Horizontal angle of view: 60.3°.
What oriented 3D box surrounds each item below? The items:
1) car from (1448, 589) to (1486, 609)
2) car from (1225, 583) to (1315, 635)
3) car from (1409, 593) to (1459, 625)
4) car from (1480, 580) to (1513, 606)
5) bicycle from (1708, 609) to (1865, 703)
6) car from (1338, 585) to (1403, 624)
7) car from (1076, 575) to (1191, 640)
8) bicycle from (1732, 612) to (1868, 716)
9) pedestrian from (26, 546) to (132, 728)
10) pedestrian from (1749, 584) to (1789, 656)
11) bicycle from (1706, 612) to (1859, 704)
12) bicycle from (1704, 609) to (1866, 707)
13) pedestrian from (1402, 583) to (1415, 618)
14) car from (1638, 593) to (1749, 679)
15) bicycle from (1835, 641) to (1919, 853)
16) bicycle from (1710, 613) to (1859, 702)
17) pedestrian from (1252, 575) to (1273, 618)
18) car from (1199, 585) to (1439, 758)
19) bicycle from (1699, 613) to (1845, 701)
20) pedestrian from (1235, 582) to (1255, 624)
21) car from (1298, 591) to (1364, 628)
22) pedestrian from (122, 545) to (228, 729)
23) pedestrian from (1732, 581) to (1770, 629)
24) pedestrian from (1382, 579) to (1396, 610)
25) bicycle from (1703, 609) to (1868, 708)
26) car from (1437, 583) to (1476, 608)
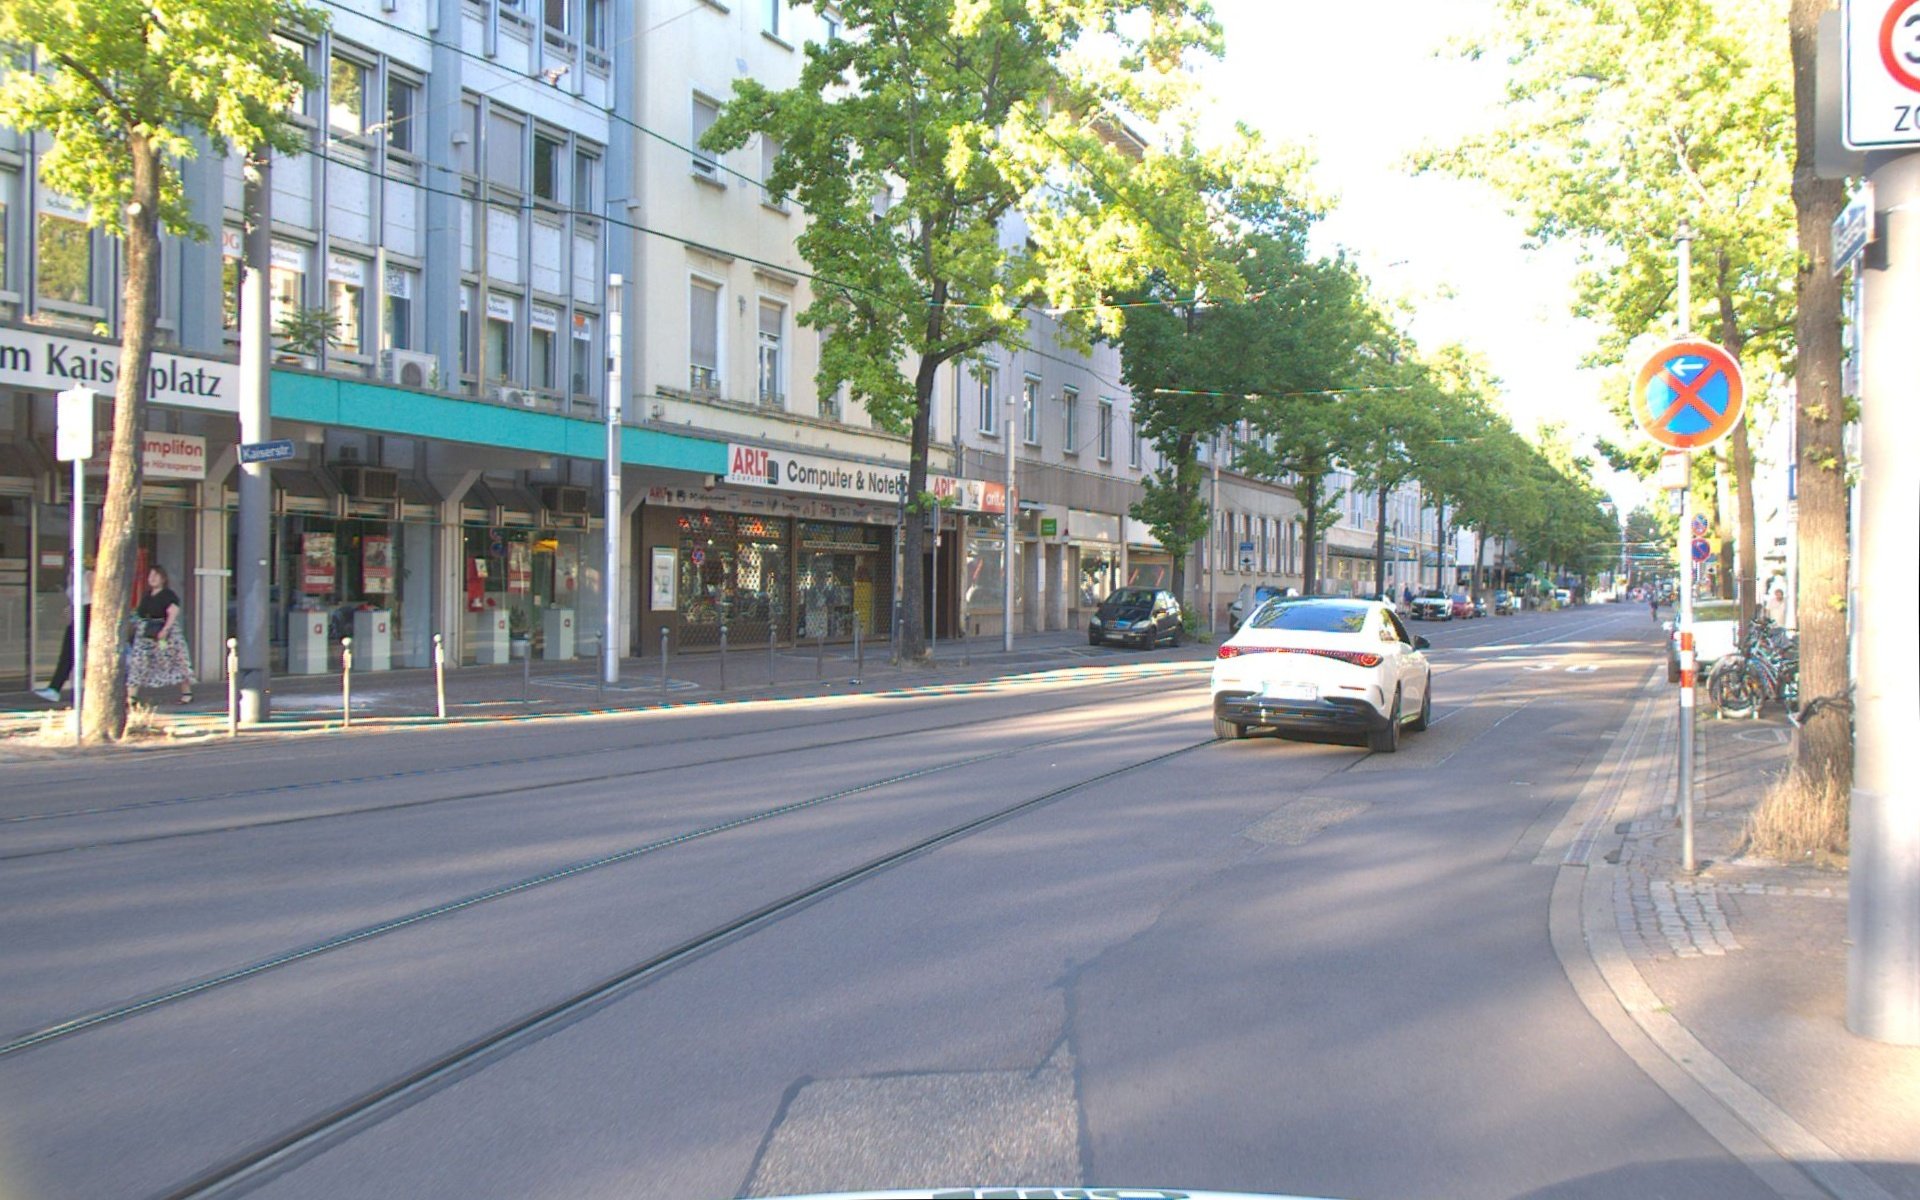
[{"bbox_3d":[33.519,-0.072,109.317,1.954,1.314,3.998,1,0,24],"label":"car"},{"bbox_3d":[11.042,0.306,58.659,1.923,1.668,4.809,4,1,25],"label":"car"},{"bbox_3d":[26.665,0.487,92.966,1.923,1.721,5.009,1,0,25],"label":"car"},{"bbox_3d":[39.555,-0.516,121.913,1.525,1.827,3.158,1,0,33],"label":"car"},{"bbox_3d":[10.924,0.721,21.906,1.830,1.175,0.562,1,0,27],"label":"bicycle"},{"bbox_3d":[18.903,0.213,76.056,1.908,1.668,4.905,2,1,26],"label":"car"},{"bbox_3d":[4.804,0.196,45.379,1.923,1.668,3.997,1,0,25],"label":"car"},{"bbox_3d":[10.061,0.743,19.870,0.452,1.175,1.675,1,0,-15],"label":"bicycle"},{"bbox_3d":[-10.209,0.414,19.180,0.781,2.049,0.733,1,0,25],"label":"pedestrian"},{"bbox_3d":[18.970,0.468,38.792,0.787,1.672,0.755,-1,0,25],"label":"pedestrian"},{"bbox_3d":[11.177,0.773,22.528,1.830,1.175,0.562,1,0,27],"label":"bicycle"},{"bbox_3d":[10.590,0.727,21.277,1.830,1.175,0.562,1,0,27],"label":"bicycle"},{"bbox_3d":[26.065,0.020,96.156,0.692,2.039,0.676,0,0,18],"label":"pedestrian"},{"bbox_3d":[13.963,0.664,31.454,1.740,1.465,4.419,-3,-1,25],"label":"car"},{"bbox_3d":[5.406,0.806,9.616,0.347,1.095,1.699,1,0,21],"label":"bicycle"},{"bbox_3d":[11.479,0.783,23.064,1.830,1.175,0.562,1,0,27],"label":"bicycle"},{"bbox_3d":[12.488,-0.131,68.334,0.672,1.750,0.656,1,0,25],"label":"pedestrian"},{"bbox_3d":[3.903,0.644,17.477,1.830,1.494,4.043,3,2,21],"label":"car"},{"bbox_3d":[11.603,0.798,23.673,1.830,1.175,0.562,1,0,27],"label":"bicycle"},{"bbox_3d":[11.886,0.118,68.932,0.661,1.709,0.647,0,0,24],"label":"pedestrian"},{"bbox_3d":[15.507,0.381,68.969,1.922,1.437,4.846,1,0,21],"label":"car"},{"bbox_3d":[-8.973,0.409,18.915,0.781,2.049,0.733,1,0,25],"label":"pedestrian"},{"bbox_3d":[23.156,0.139,48.434,0.695,1.411,0.745,0,0,-13],"label":"pedestrian"},{"bbox_3d":[25.042,-0.315,96.563,0.692,1.838,0.676,0,0,19],"label":"pedestrian"},{"bbox_3d":[10.353,0.723,20.797,1.830,1.175,0.347,1,0,27],"label":"bicycle"},{"bbox_3d":[30.569,-0.266,101.806,1.655,1.525,4.231,1,0,25],"label":"car"}]
